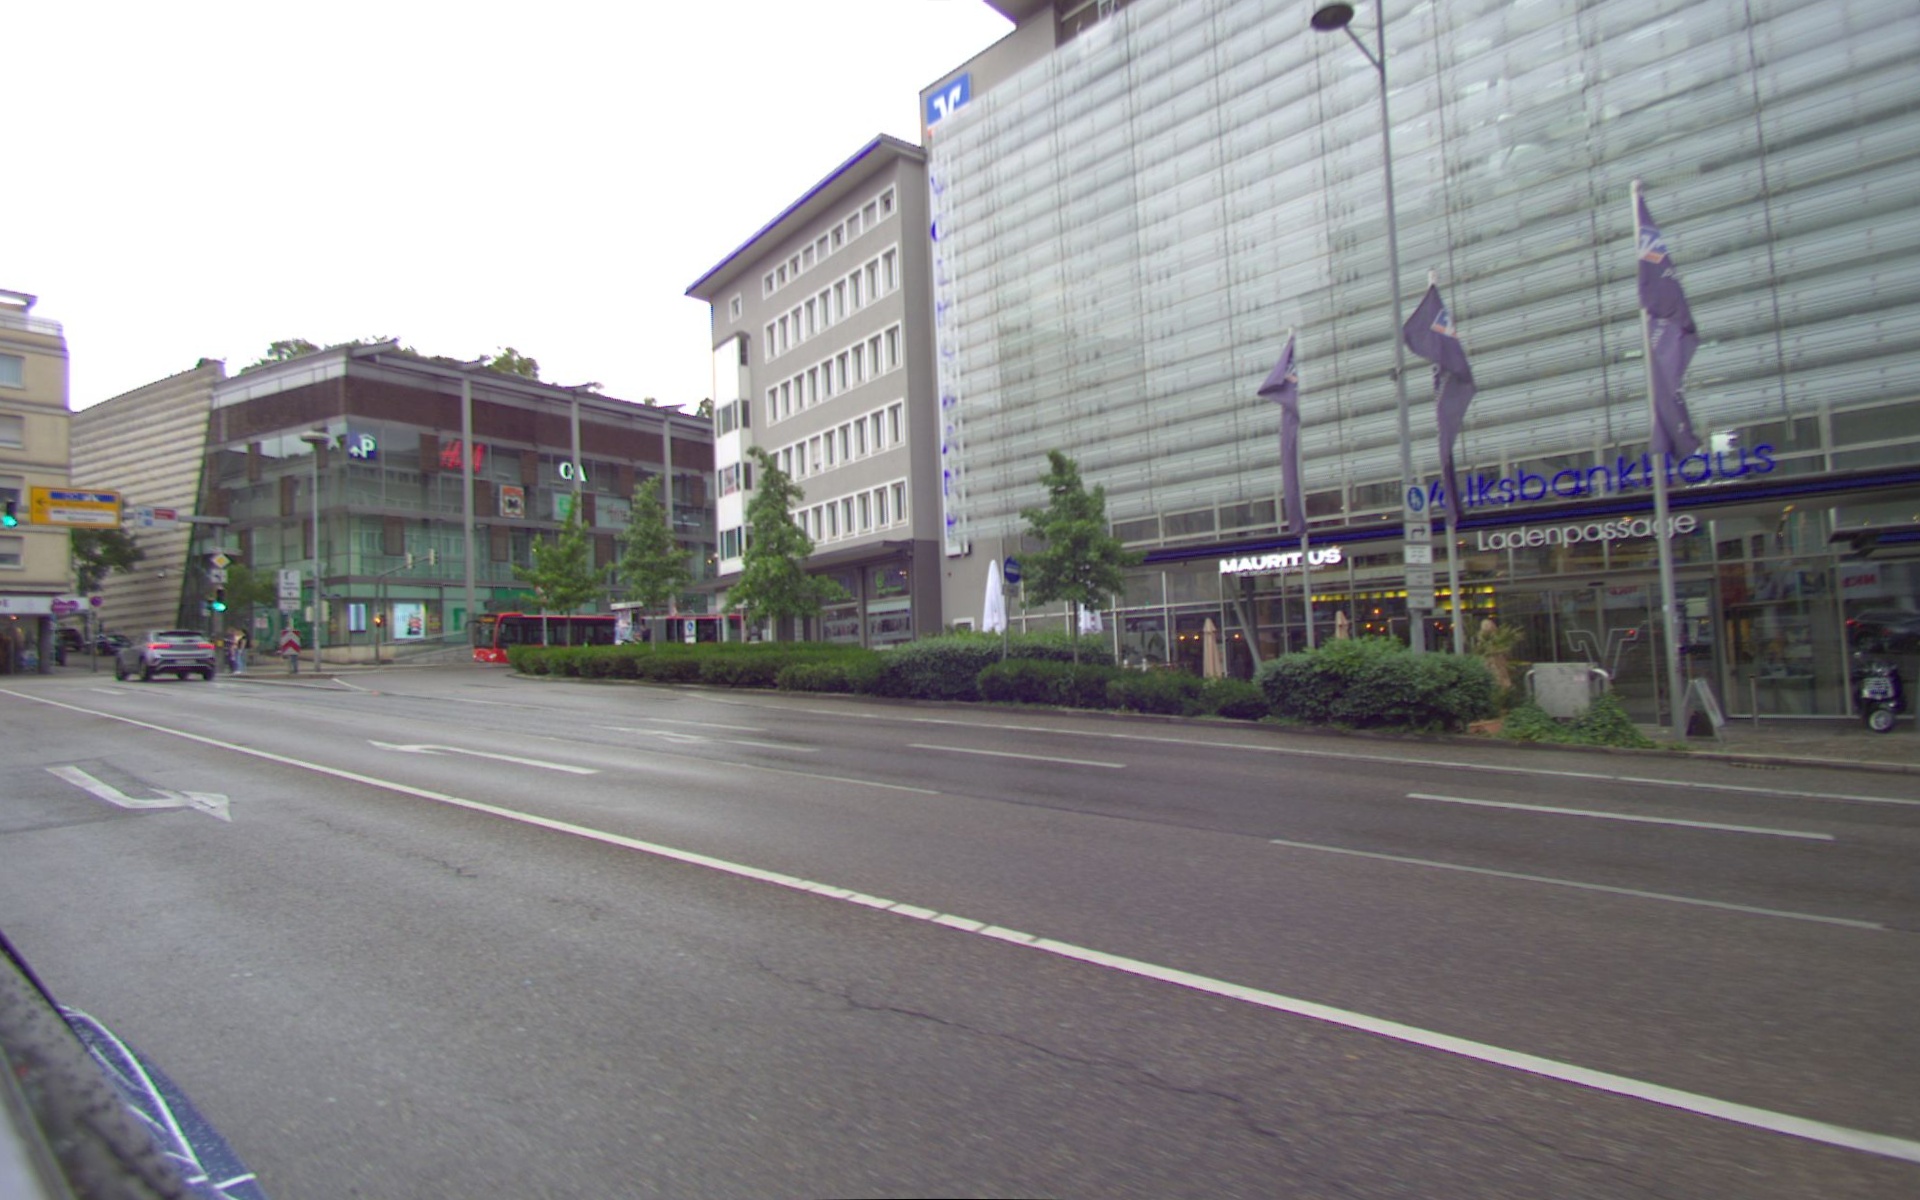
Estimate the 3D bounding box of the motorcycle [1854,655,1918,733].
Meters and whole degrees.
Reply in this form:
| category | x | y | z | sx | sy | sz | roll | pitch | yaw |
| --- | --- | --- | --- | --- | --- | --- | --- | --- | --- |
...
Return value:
| category | x | y | z | sx | sy | sz | roll | pitch | yaw |
| --- | --- | --- | --- | --- | --- | --- | --- | --- | --- |
| motorcycle | 16.799 | 1.666 | 18.346 | 0.769 | 1.305 | 1.529 | -2 | -3 | 45 |

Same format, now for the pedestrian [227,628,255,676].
| category | x | y | z | sx | sy | sz | roll | pitch | yaw |
| --- | --- | --- | --- | --- | --- | --- | --- | --- | --- |
| pedestrian | -25.758 | 1.867 | 36.257 | 0.784 | 1.702 | 0.629 | -3 | -4 | 44 |

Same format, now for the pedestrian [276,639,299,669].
| category | x | y | z | sx | sy | sz | roll | pitch | yaw |
| --- | --- | --- | --- | --- | --- | --- | --- | --- | --- |
| pedestrian | -41.696 | 3.345 | 62.758 | 1.043 | 1.775 | 0.689 | -3 | -4 | 24 |

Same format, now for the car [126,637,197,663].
| category | x | y | z | sx | sy | sz | roll | pitch | yaw |
| --- | --- | --- | --- | --- | --- | --- | --- | --- | --- |
| car | -51.319 | 3.190 | 65.067 | 4.357 | 1.558 | 1.882 | -1 | 0 | 26 |

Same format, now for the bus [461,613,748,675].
| category | x | y | z | sx | sy | sz | roll | pitch | yaw |
| --- | --- | --- | --- | --- | --- | --- | --- | --- | --- |
| bus | -20.989 | 2.761 | 62.407 | 2.924 | 3.346 | 18.247 | -3 | -4 | 36 |

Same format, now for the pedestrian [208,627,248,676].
| category | x | y | z | sx | sy | sz | roll | pitch | yaw |
| --- | --- | --- | --- | --- | --- | --- | --- | --- | --- |
| pedestrian | -27.597 | 1.945 | 38.165 | 1.009 | 1.801 | 0.845 | -2 | -3 | 29 |

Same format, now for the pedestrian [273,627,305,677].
| category | x | y | z | sx | sy | sz | roll | pitch | yaw |
| --- | --- | --- | --- | --- | --- | --- | --- | --- | --- |
| pedestrian | -24.222 | 1.882 | 36.531 | 0.829 | 1.792 | 0.611 | -2 | -3 | 30 |

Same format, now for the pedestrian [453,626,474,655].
| category | x | y | z | sx | sy | sz | roll | pitch | yaw |
| --- | --- | --- | --- | --- | --- | --- | --- | --- | --- |
| pedestrian | -33.673 | 2.753 | 68.607 | 0.881 | 1.996 | 0.963 | -3 | -4 | 35 |

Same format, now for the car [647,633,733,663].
| category | x | y | z | sx | sy | sz | roll | pitch | yaw |
| --- | --- | --- | --- | --- | --- | --- | --- | --- | --- |
| car | -19.445 | 3.476 | 73.172 | 2.446 | 2.091 | 5.840 | -2 | -3 | 34 |

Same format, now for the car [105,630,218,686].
| category | x | y | z | sx | sy | sz | roll | pitch | yaw |
| --- | --- | --- | --- | --- | --- | --- | --- | --- | --- |
| car | -24.301 | 1.757 | 30.766 | 4.090 | 1.564 | 1.822 | -2 | -5 | 39 |

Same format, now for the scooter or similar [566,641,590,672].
| category | x | y | z | sx | sy | sz | roll | pitch | yaw |
| --- | --- | --- | --- | --- | --- | --- | --- | --- | --- |
| scooter or similar | -15.127 | 2.241 | 40.068 | 0.535 | 1.196 | 1.387 | 1 | -5 | -35 |

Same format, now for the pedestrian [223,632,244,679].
| category | x | y | z | sx | sy | sz | roll | pitch | yaw |
| --- | --- | --- | --- | --- | --- | --- | --- | --- | --- |
| pedestrian | -26.313 | 2.026 | 36.654 | 0.571 | 1.681 | 0.494 | -4 | -4 | 42 |

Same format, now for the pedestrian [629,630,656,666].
| category | x | y | z | sx | sy | sz | roll | pitch | yaw |
| --- | --- | --- | --- | --- | --- | --- | --- | --- | --- |
| pedestrian | -15.748 | 2.372 | 50.170 | 1.021 | 1.789 | 0.792 | -2 | -3 | 30 |

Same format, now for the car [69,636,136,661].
| category | x | y | z | sx | sy | sz | roll | pitch | yaw |
| --- | --- | --- | --- | --- | --- | --- | --- | --- | --- |
| car | -57.813 | 3.264 | 68.211 | 4.357 | 1.558 | 1.882 | -1 | 0 | 26 |

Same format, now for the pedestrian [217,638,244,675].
| category | x | y | z | sx | sy | sz | roll | pitch | yaw |
| --- | --- | --- | --- | --- | --- | --- | --- | --- | --- |
| pedestrian | -26.705 | 2.073 | 37.035 | 0.629 | 1.350 | 0.582 | -2 | -3 | 30 |
